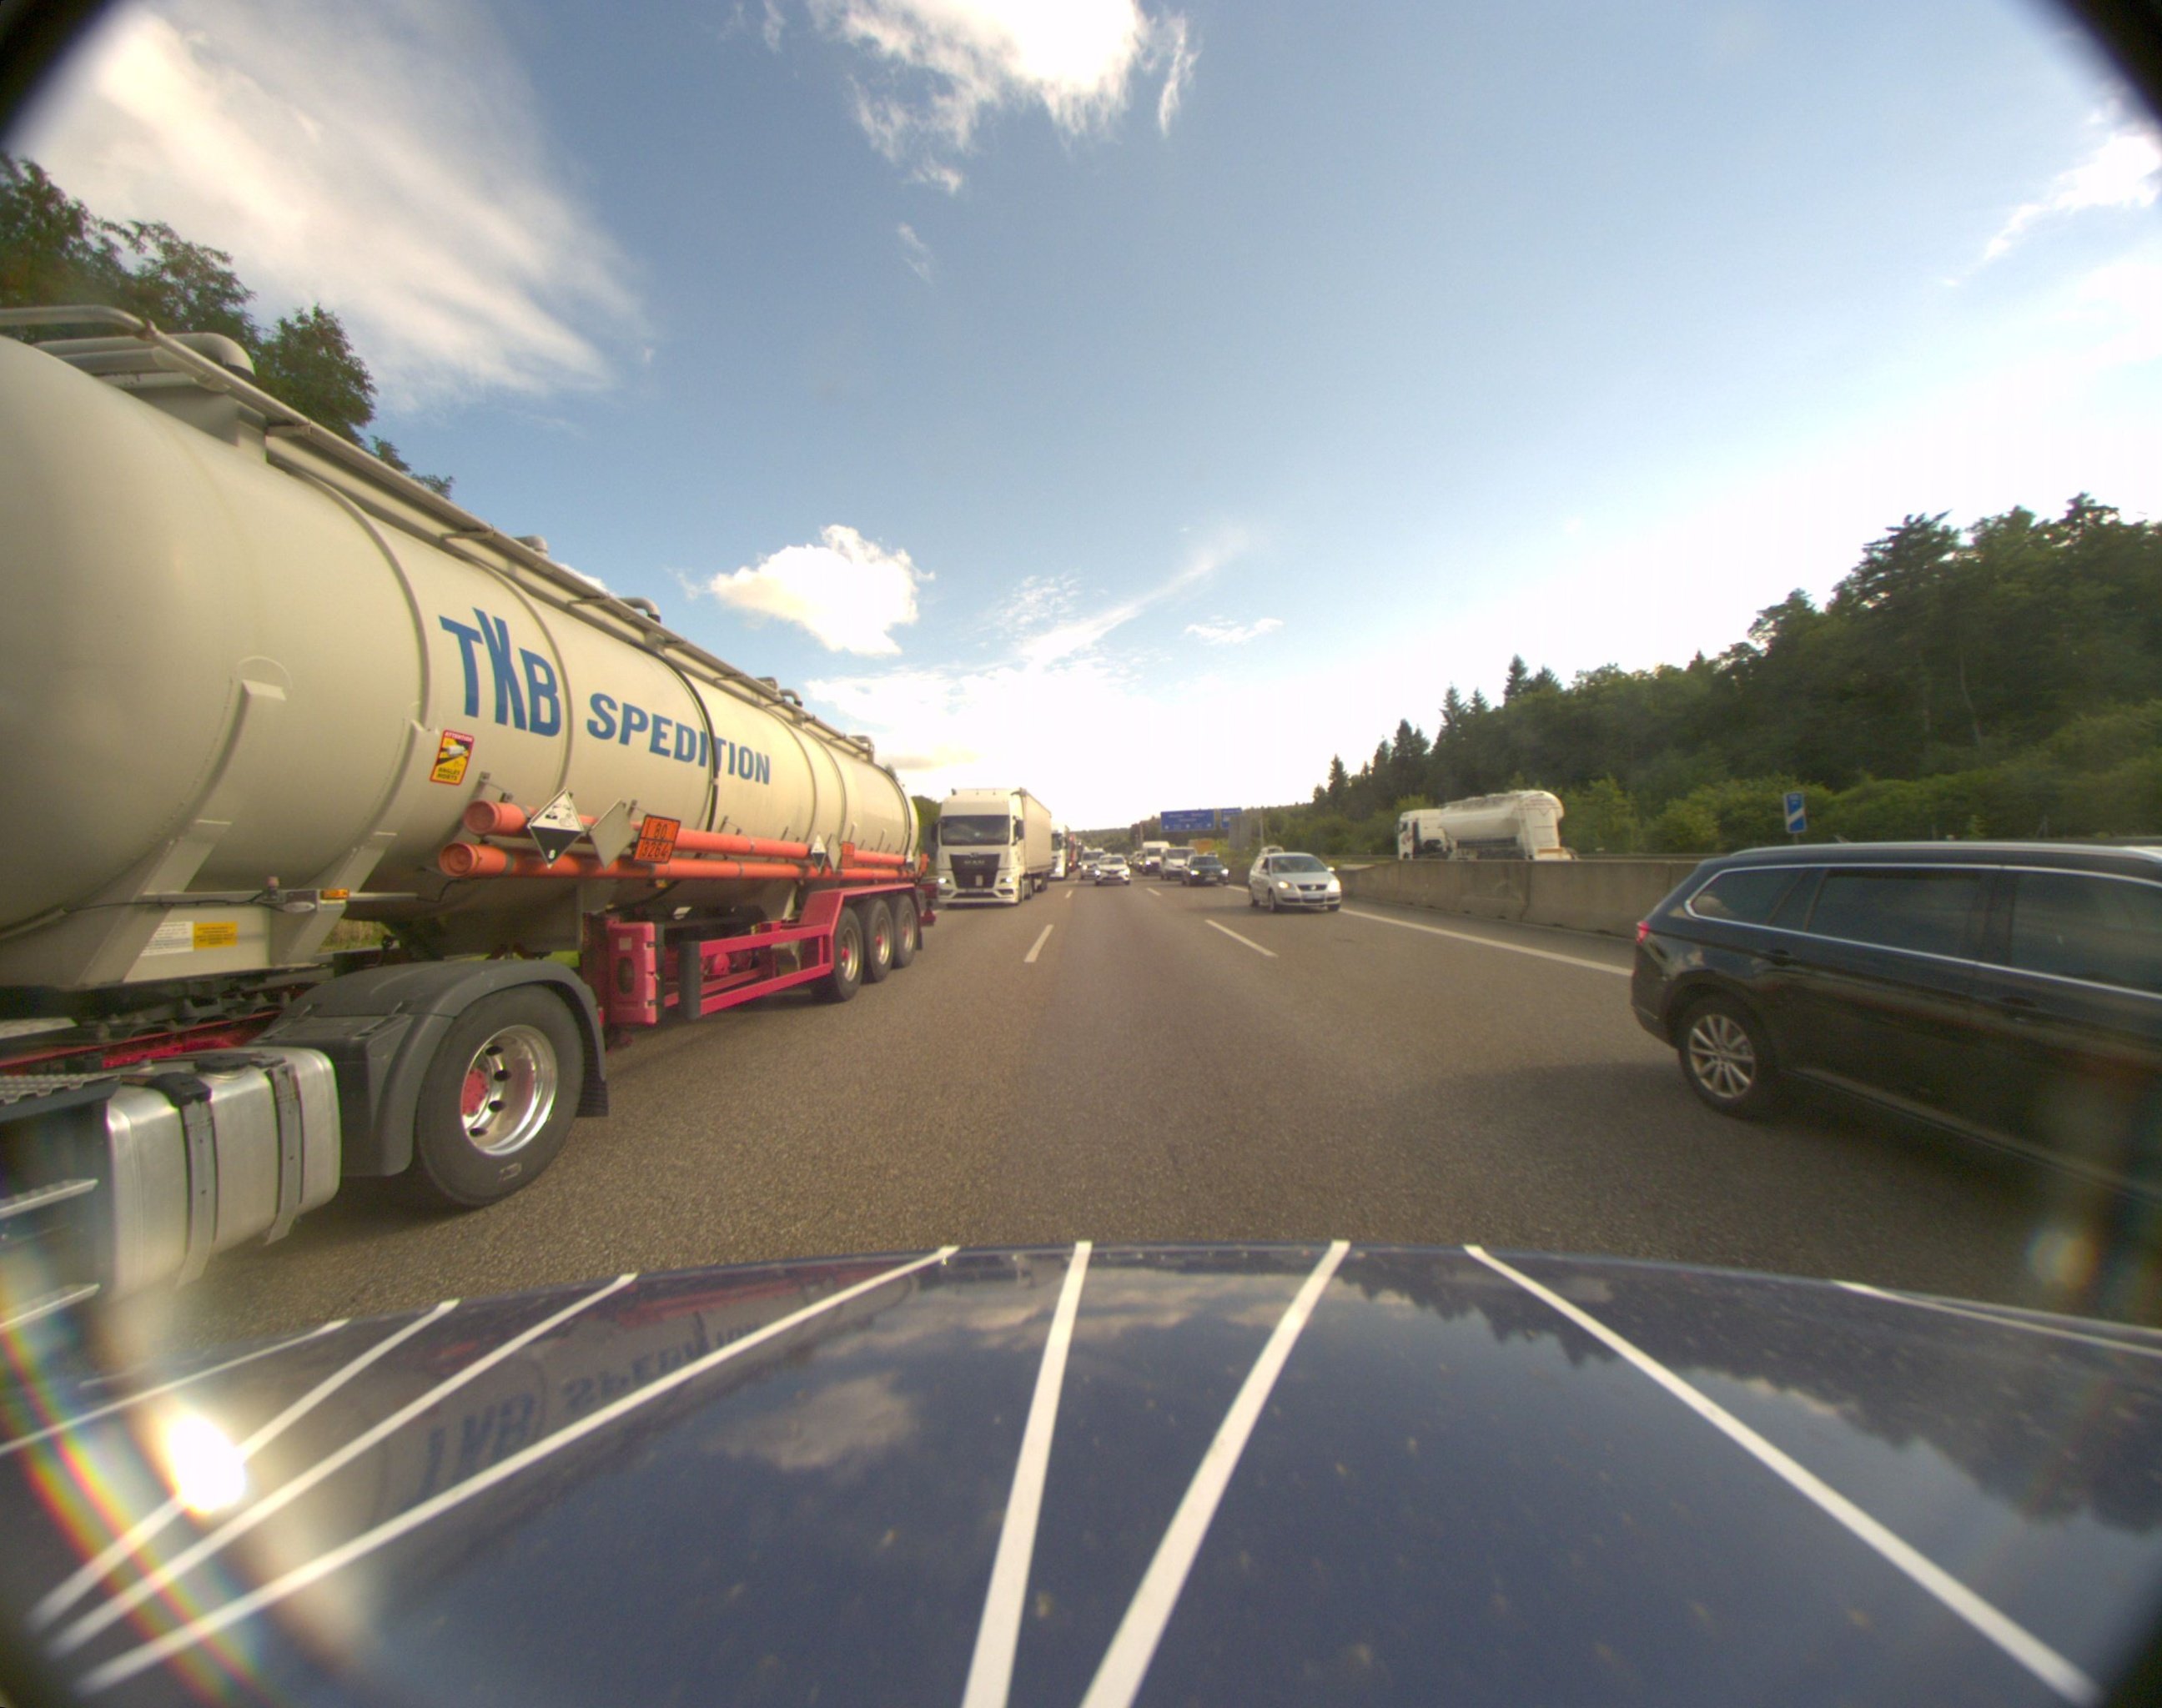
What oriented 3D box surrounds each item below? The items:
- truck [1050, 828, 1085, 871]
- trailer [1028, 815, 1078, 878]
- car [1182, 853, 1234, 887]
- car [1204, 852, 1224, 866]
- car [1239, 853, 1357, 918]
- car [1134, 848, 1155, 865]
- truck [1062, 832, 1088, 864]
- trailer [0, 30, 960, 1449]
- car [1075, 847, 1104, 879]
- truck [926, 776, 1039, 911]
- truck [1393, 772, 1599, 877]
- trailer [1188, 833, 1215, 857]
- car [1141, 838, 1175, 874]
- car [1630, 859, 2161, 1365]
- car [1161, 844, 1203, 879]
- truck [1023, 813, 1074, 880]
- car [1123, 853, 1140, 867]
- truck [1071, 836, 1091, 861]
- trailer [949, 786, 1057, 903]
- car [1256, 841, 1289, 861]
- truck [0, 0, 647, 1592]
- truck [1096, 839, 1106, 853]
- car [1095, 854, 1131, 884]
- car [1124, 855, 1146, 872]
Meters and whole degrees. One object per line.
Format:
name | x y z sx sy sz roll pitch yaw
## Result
truck | -1.366 -0.542 82.421 2.840 4.178 12.045 -2 1 3
trailer | -1.930 -0.522 58.440 2.841 4.177 13.613 -2 0 1
car | 5.912 0.716 35.848 1.809 1.423 3.994 -2 0 1
car | 18.312 0.634 104.757 1.857 1.799 4.323 -2 0 0
car | 5.508 0.722 19.930 1.809 1.423 4.666 -2 0 1
car | 6.936 0.292 83.266 1.920 1.785 3.811 -2 0 1
truck | -0.815 -0.878 108.294 2.840 4.178 12.045 -2 1 3
trailer | -3.768 -0.288 7.777 2.805 4.003 11.182 -2 0 2
car | 0.618 0.578 51.796 1.809 2.052 4.770 -2 0 1
truck | -3.192 -0.325 26.145 2.841 4.048 5.707 -2 1 2
truck | 20.449 -1.322 39.180 2.940 4.329 13.908 -2 1 0
trailer | 22.568 -1.770 143.063 2.841 4.178 13.561 -2 1 1
car | 5.812 0.101 57.634 2.054 2.557 5.861 -1 0 1
car | 4.254 0.805 2.388 1.915 1.469 4.569 -2 0 3
car | 6.015 0.425 45.819 1.947 1.953 4.848 -2 0 1
truck | -2.103 -0.469 51.163 2.841 4.177 5.707 -2 0 1
car | 6.099 0.736 92.318 1.920 1.535 3.811 -2 0 1
truck | 0.069 -1.020 136.612 2.840 4.178 12.045 -2 1 3
trailer | -2.958 -0.366 33.410 2.833 4.047 13.372 -2 0 2
car | 16.801 -0.258 66.860 1.857 1.702 4.323 -2 0 0
truck | -3.970 -0.264 1.272 2.809 4.020 5.904 -2 0 2
truck | 6.422 -2.503 239.160 2.840 4.178 12.045 -2 1 3
car | 1.676 0.769 40.815 1.809 1.488 4.666 -2 0 1
car | 4.891 0.844 68.987 1.809 1.423 3.660 -2 0 1
